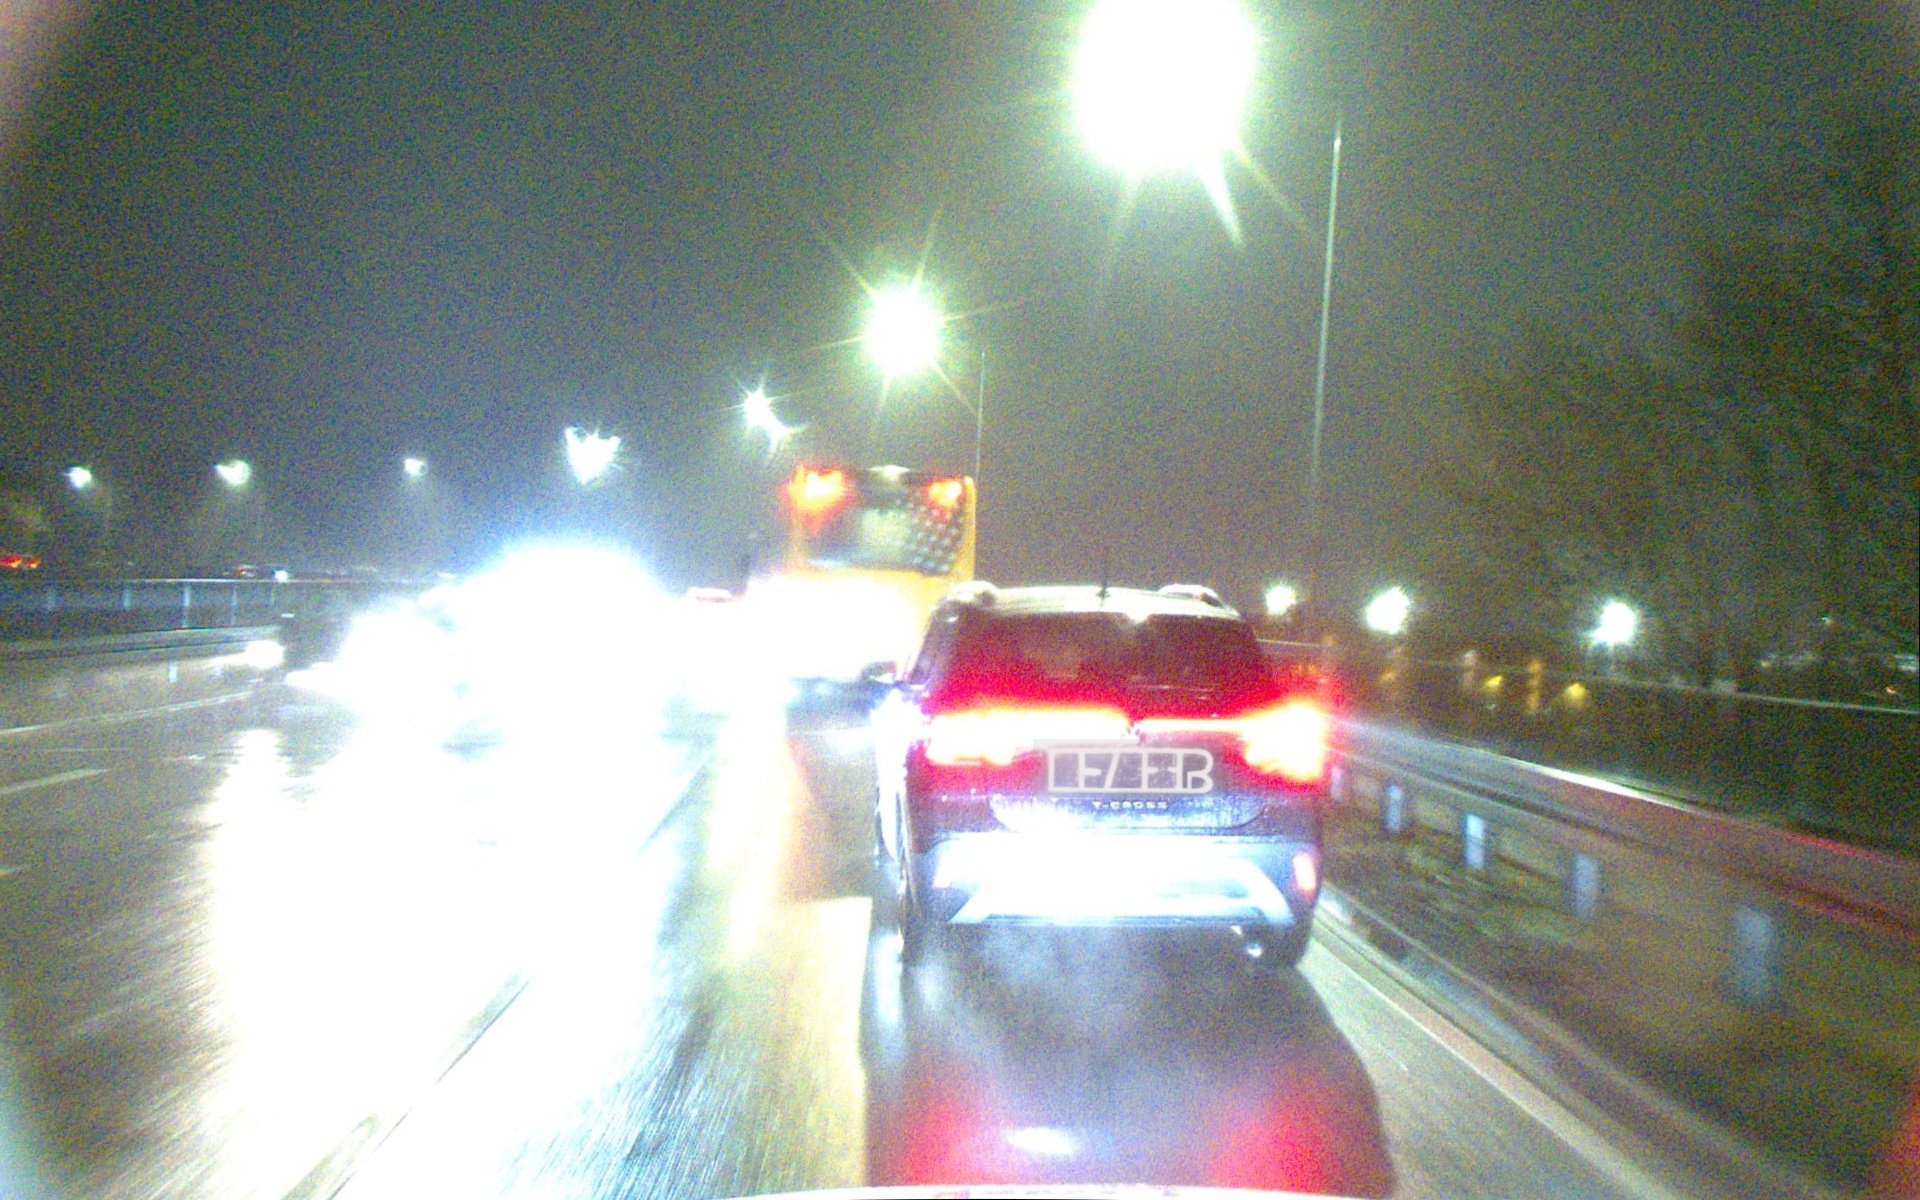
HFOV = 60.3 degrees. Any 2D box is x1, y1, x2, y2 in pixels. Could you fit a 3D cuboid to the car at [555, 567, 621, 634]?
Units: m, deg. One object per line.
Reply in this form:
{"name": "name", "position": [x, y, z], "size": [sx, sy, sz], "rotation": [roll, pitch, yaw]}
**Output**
{"name": "car", "position": [-9.546, -0.015, 42.592], "size": [1.444, 1.612, 3.184], "rotation": [1, 1, -9]}

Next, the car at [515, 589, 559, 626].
{"name": "car", "position": [-17.594, 0.284, 68.743], "size": [1.654, 1.415, 4.433], "rotation": [3, 0, -15]}

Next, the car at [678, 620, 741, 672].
{"name": "car", "position": [-8.607, 1.536, 56.573], "size": [1.610, 1.684, 3.692], "rotation": [0, 0, -17]}

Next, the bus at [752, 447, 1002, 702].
{"name": "bus", "position": [-1.831, -0.414, 27.461], "size": [3.025, 3.187, 12.675], "rotation": [1, 1, -8]}

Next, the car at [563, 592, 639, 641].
{"name": "car", "position": [-11.608, 0.512, 53.315], "size": [1.867, 1.464, 4.039], "rotation": [1, 0, -20]}

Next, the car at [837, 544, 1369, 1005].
{"name": "car", "position": [0.385, 0.645, 7.949], "size": [1.820, 1.614, 3.995], "rotation": [2, 0, -5]}

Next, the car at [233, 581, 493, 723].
{"name": "car", "position": [-6.735, 0.530, 19.127], "size": [1.731, 1.452, 4.215], "rotation": [0, 0, -4]}

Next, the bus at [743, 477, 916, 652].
{"name": "bus", "position": [-3.171, -0.829, 37.703], "size": [2.994, 3.184, 8.063], "rotation": [7, 0, -9]}

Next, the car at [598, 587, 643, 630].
{"name": "car", "position": [-14.794, 0.364, 71.903], "size": [1.288, 1.687, 3.173], "rotation": [8, -2, -20]}
